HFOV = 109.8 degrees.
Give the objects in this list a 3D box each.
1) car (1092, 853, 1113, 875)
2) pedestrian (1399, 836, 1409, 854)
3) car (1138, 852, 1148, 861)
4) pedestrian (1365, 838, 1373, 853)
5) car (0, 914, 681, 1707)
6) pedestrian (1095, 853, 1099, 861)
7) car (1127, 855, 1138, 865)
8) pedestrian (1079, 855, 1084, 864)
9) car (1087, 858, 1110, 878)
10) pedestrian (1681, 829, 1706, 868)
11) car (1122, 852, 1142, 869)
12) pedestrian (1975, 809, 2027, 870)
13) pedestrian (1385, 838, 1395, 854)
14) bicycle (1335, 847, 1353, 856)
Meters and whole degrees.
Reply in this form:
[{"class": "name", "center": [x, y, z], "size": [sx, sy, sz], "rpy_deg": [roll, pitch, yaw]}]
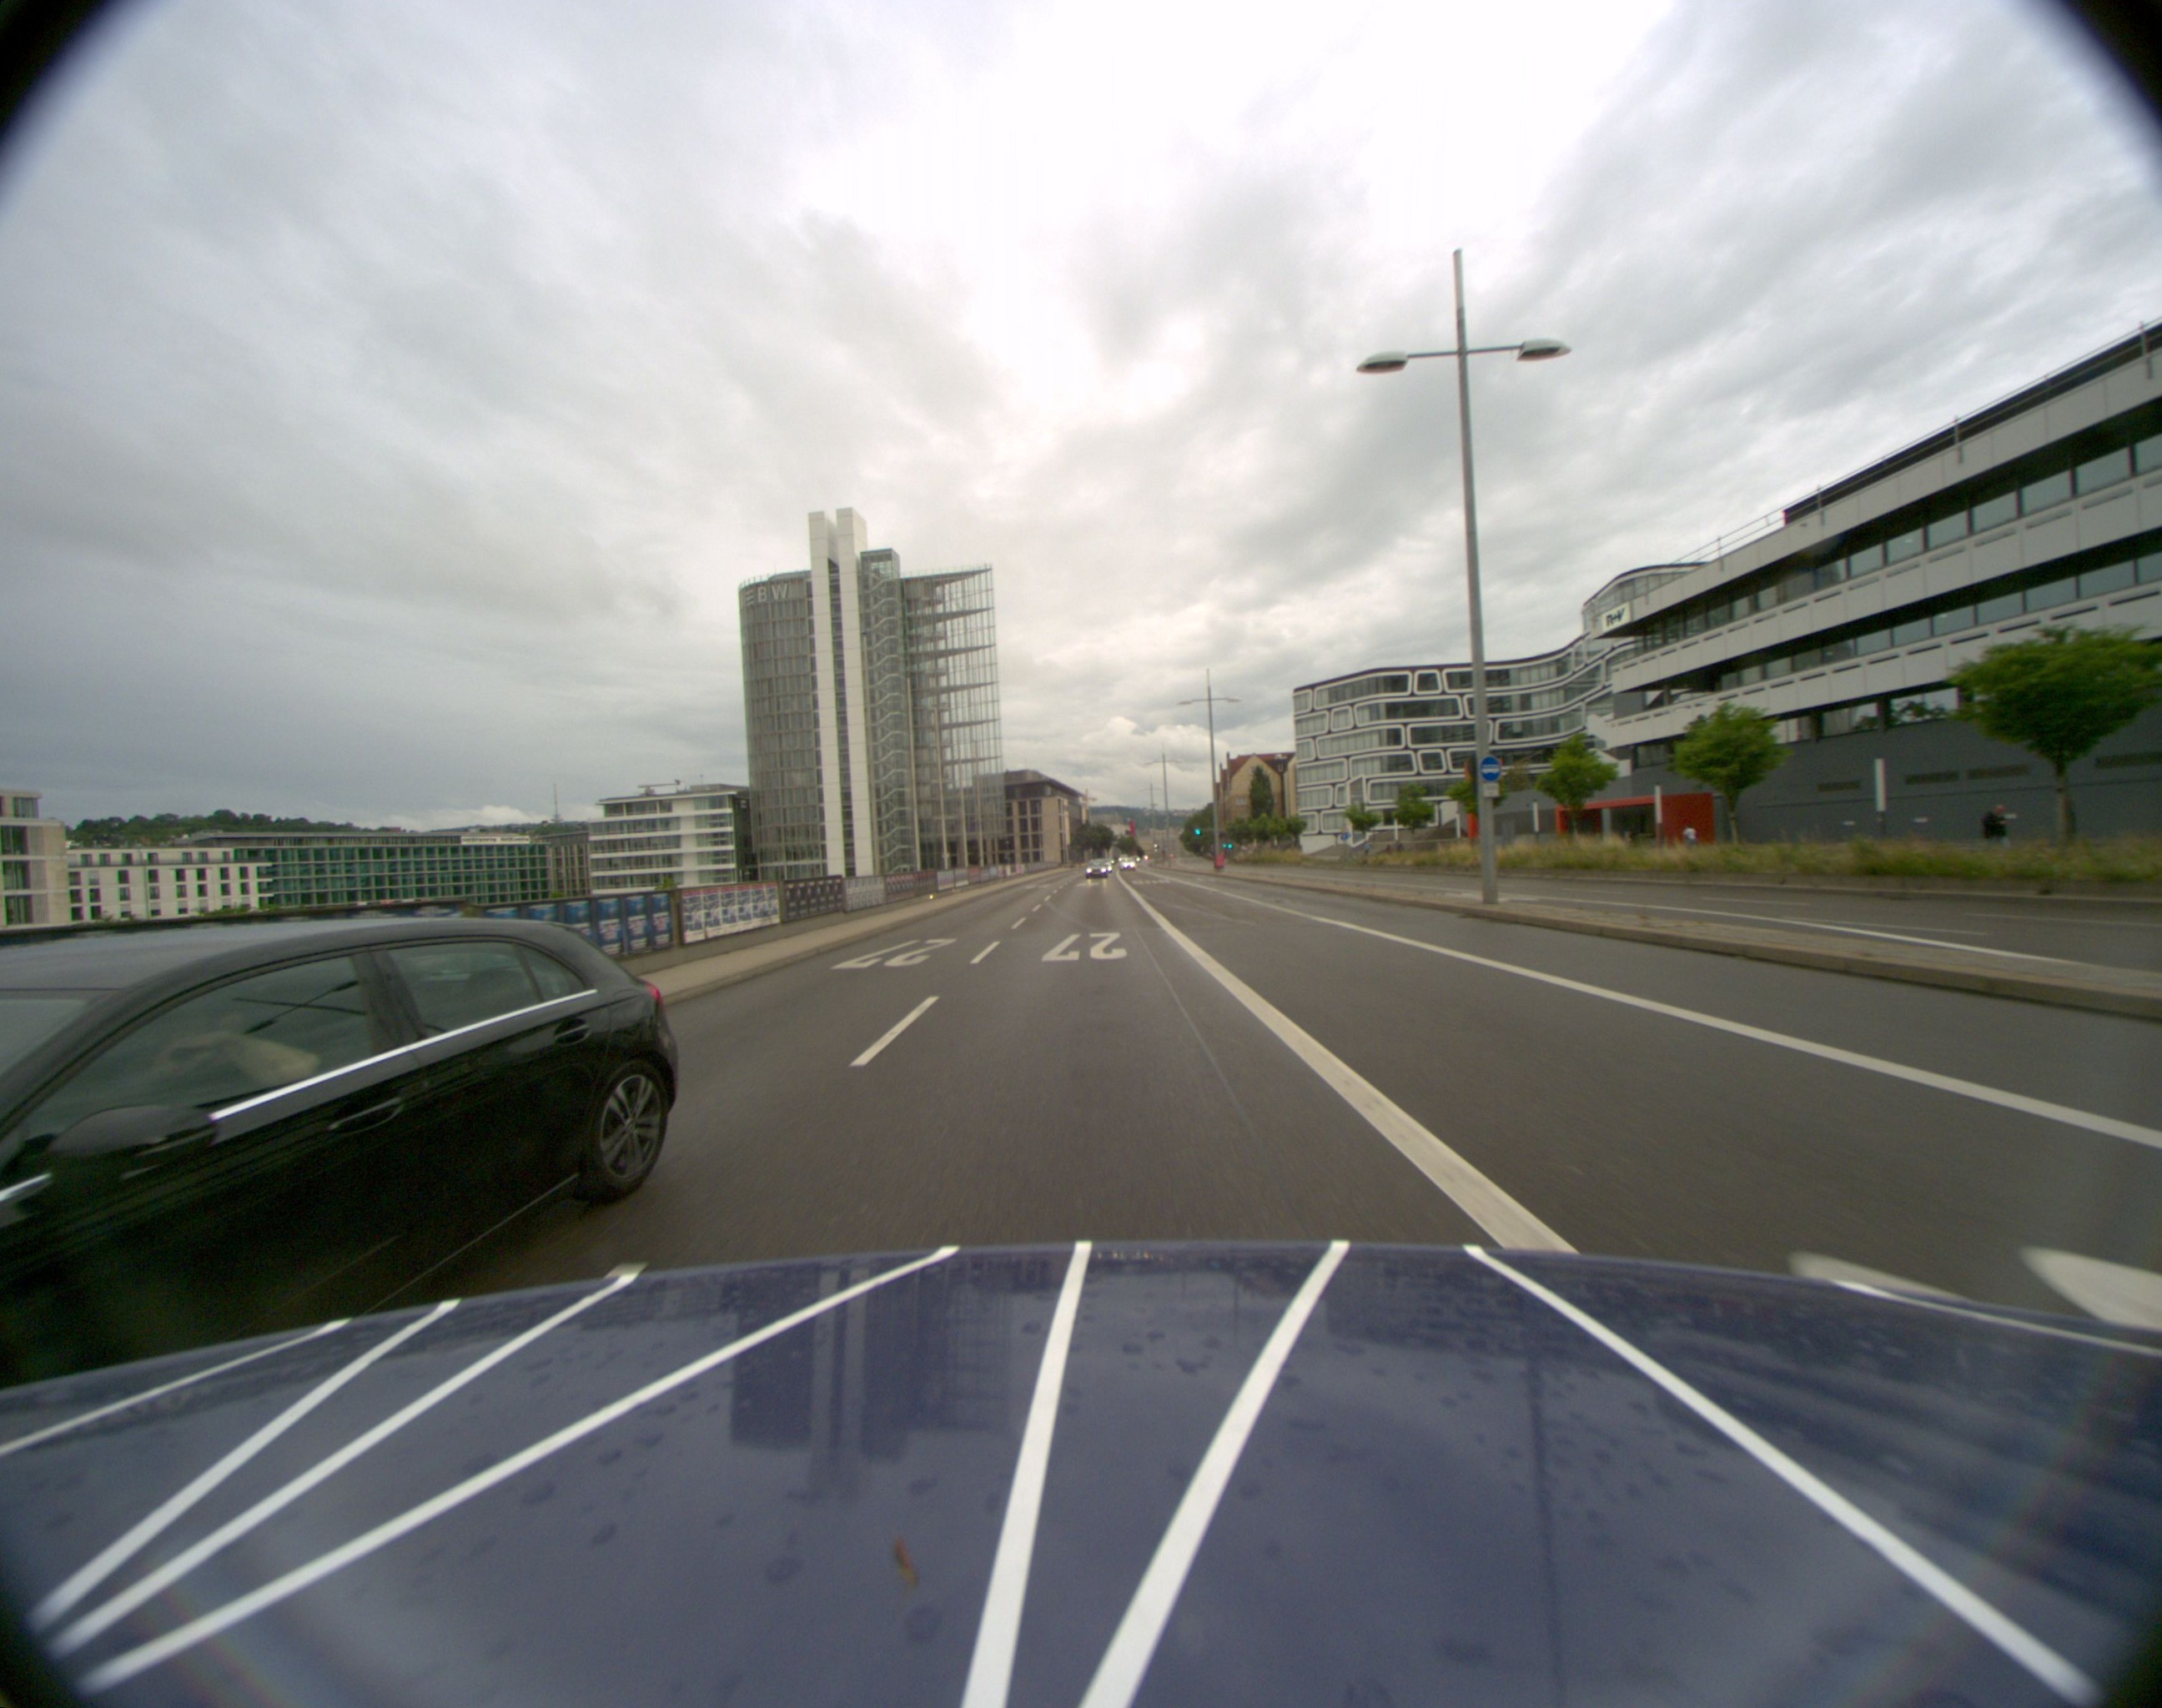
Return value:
[{"class": "car", "center": [2.200, 1.000, 78.103], "size": [1.998, 2.002, 3.999], "rpy_deg": [-2, 1, 1]}, {"class": "pedestrian", "center": [30.302, -0.823, 71.250], "size": [0.619, 1.649, 0.798], "rpy_deg": [-1, 2, 3]}, {"class": "car", "center": [14.823, 0.579, 182.215], "size": [1.998, 2.002, 3.999], "rpy_deg": [-2, 1, 1]}, {"class": "pedestrian", "center": [32.581, -0.979, 85.985], "size": [0.612, 1.602, 0.640], "rpy_deg": [-3, 2, 5]}, {"class": "car", "center": [-3.041, 1.084, 1.962], "size": [1.727, 1.368, 4.154], "rpy_deg": [-2, 1, 0]}, {"class": "pedestrian", "center": [3.068, 0.551, 145.254], "size": [0.542, 1.519, 0.600], "rpy_deg": [-2, 2, -1]}, {"class": "car", "center": [11.395, 1.397, 167.924], "size": [1.998, 2.002, 3.999], "rpy_deg": [-2, 1, 1]}, {"class": "pedestrian", "center": [0.033, 0.903, 125.603], "size": [0.660, 1.601, 0.547], "rpy_deg": [-3, 0, 8]}, {"class": "car", "center": [1.374, 1.072, 60.164], "size": [1.684, 1.379, 3.475], "rpy_deg": [-2, 1, 1]}, {"class": "pedestrian", "center": [29.122, -0.263, 36.138], "size": [0.631, 1.797, 0.628], "rpy_deg": [-2, 2, 2]}, {"class": "car", "center": [6.069, 0.736, 90.066], "size": [1.969, 1.816, 3.929], "rpy_deg": [-3, 2, 7]}, {"class": "pedestrian", "center": [27.519, -0.434, 22.727], "size": [0.786, 1.797, 0.628], "rpy_deg": [-2, 2, 2]}, {"class": "pedestrian", "center": [28.983, -0.752, 71.246], "size": [0.619, 1.438, 0.798], "rpy_deg": [-2, 2, 3]}, {"class": "bicycle", "center": [25.869, -0.243, 74.727], "size": [0.610, 0.852, 1.653], "rpy_deg": [-3, 2, -32]}]
